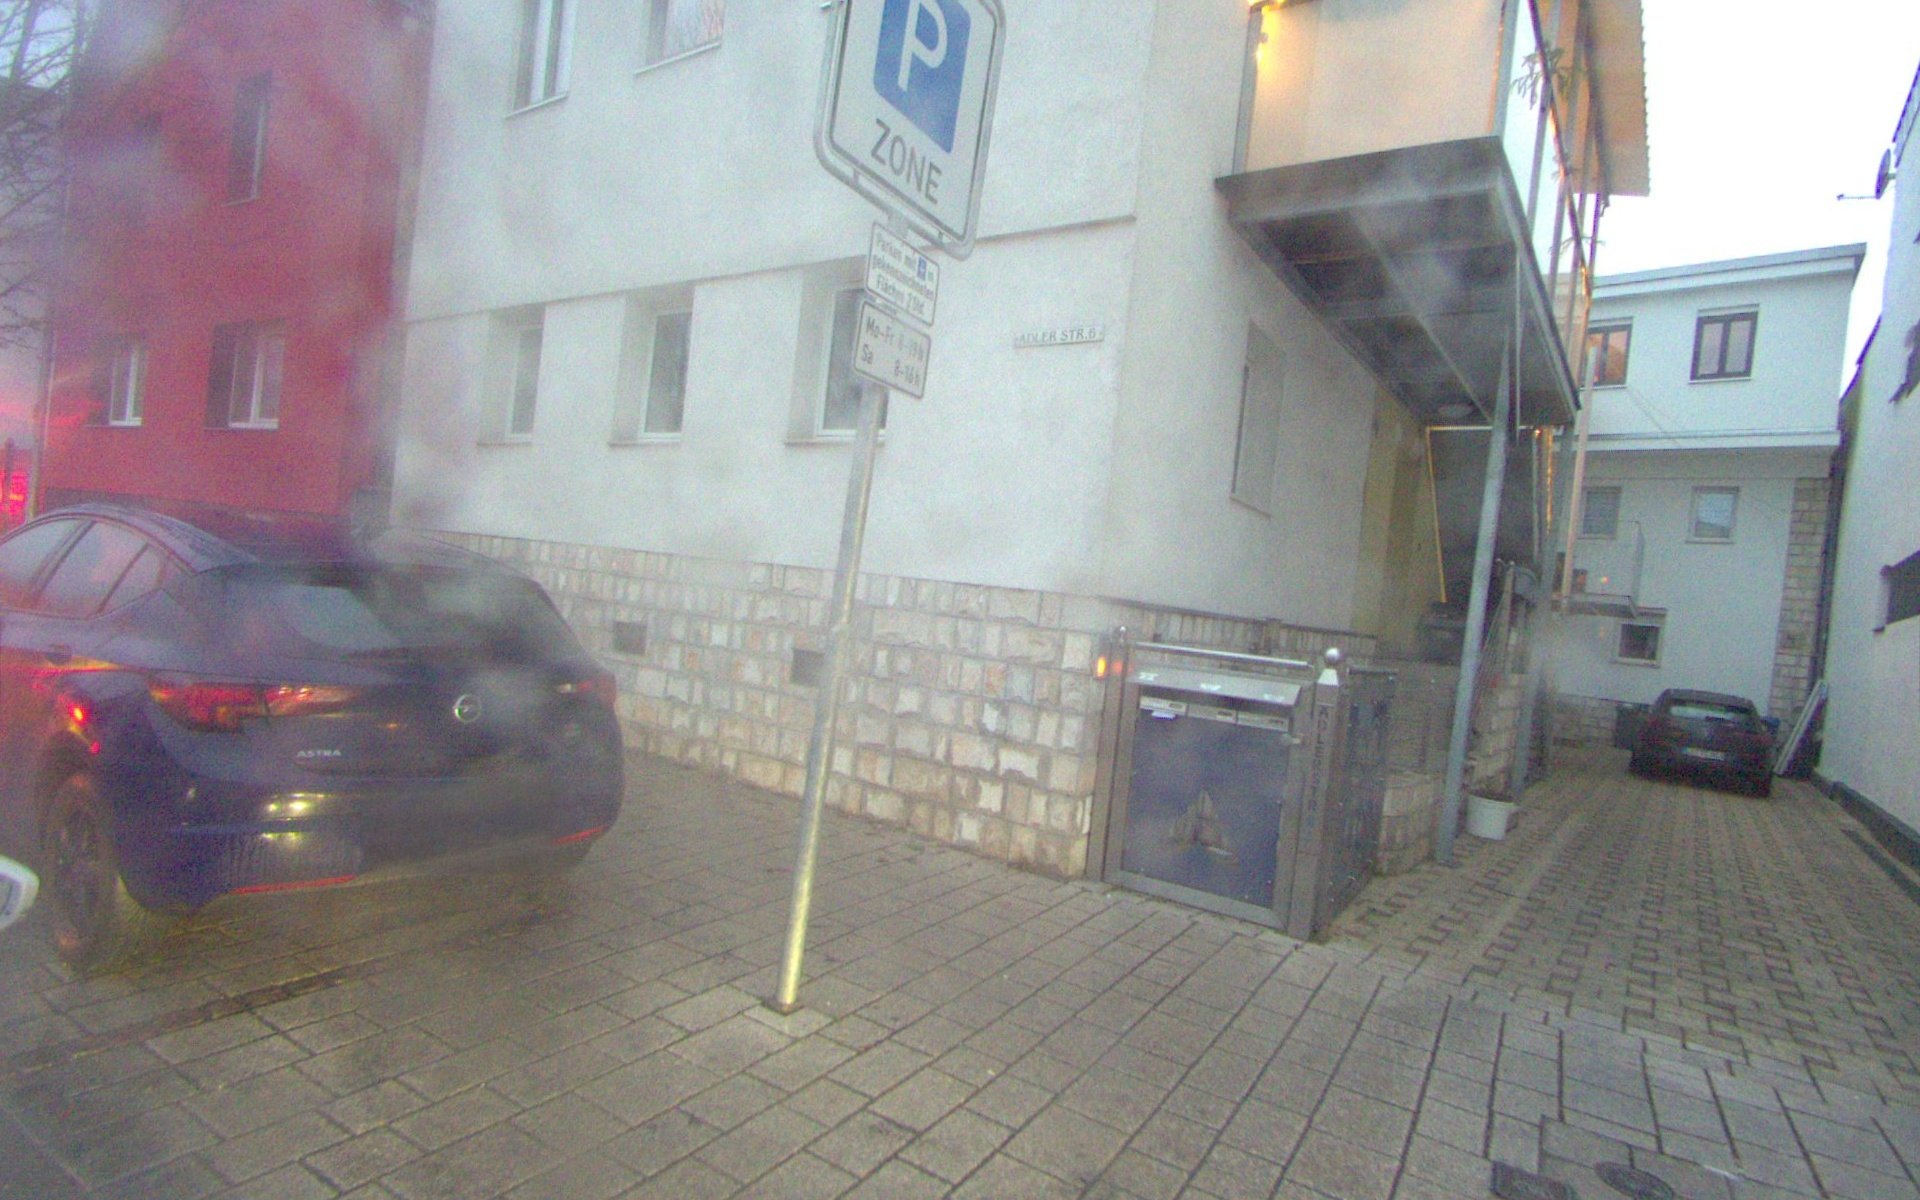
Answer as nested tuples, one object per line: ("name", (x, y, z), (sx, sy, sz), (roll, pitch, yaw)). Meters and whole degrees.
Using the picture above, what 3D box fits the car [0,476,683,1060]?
("car", (-3.359, 0.299, 4.525), (4.131, 1.484, 1.727), (7, 3, 34))

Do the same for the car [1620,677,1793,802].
("car", (12.182, 2.173, 16.645), (1.906, 1.434, 3.949), (9, 2, 34))
